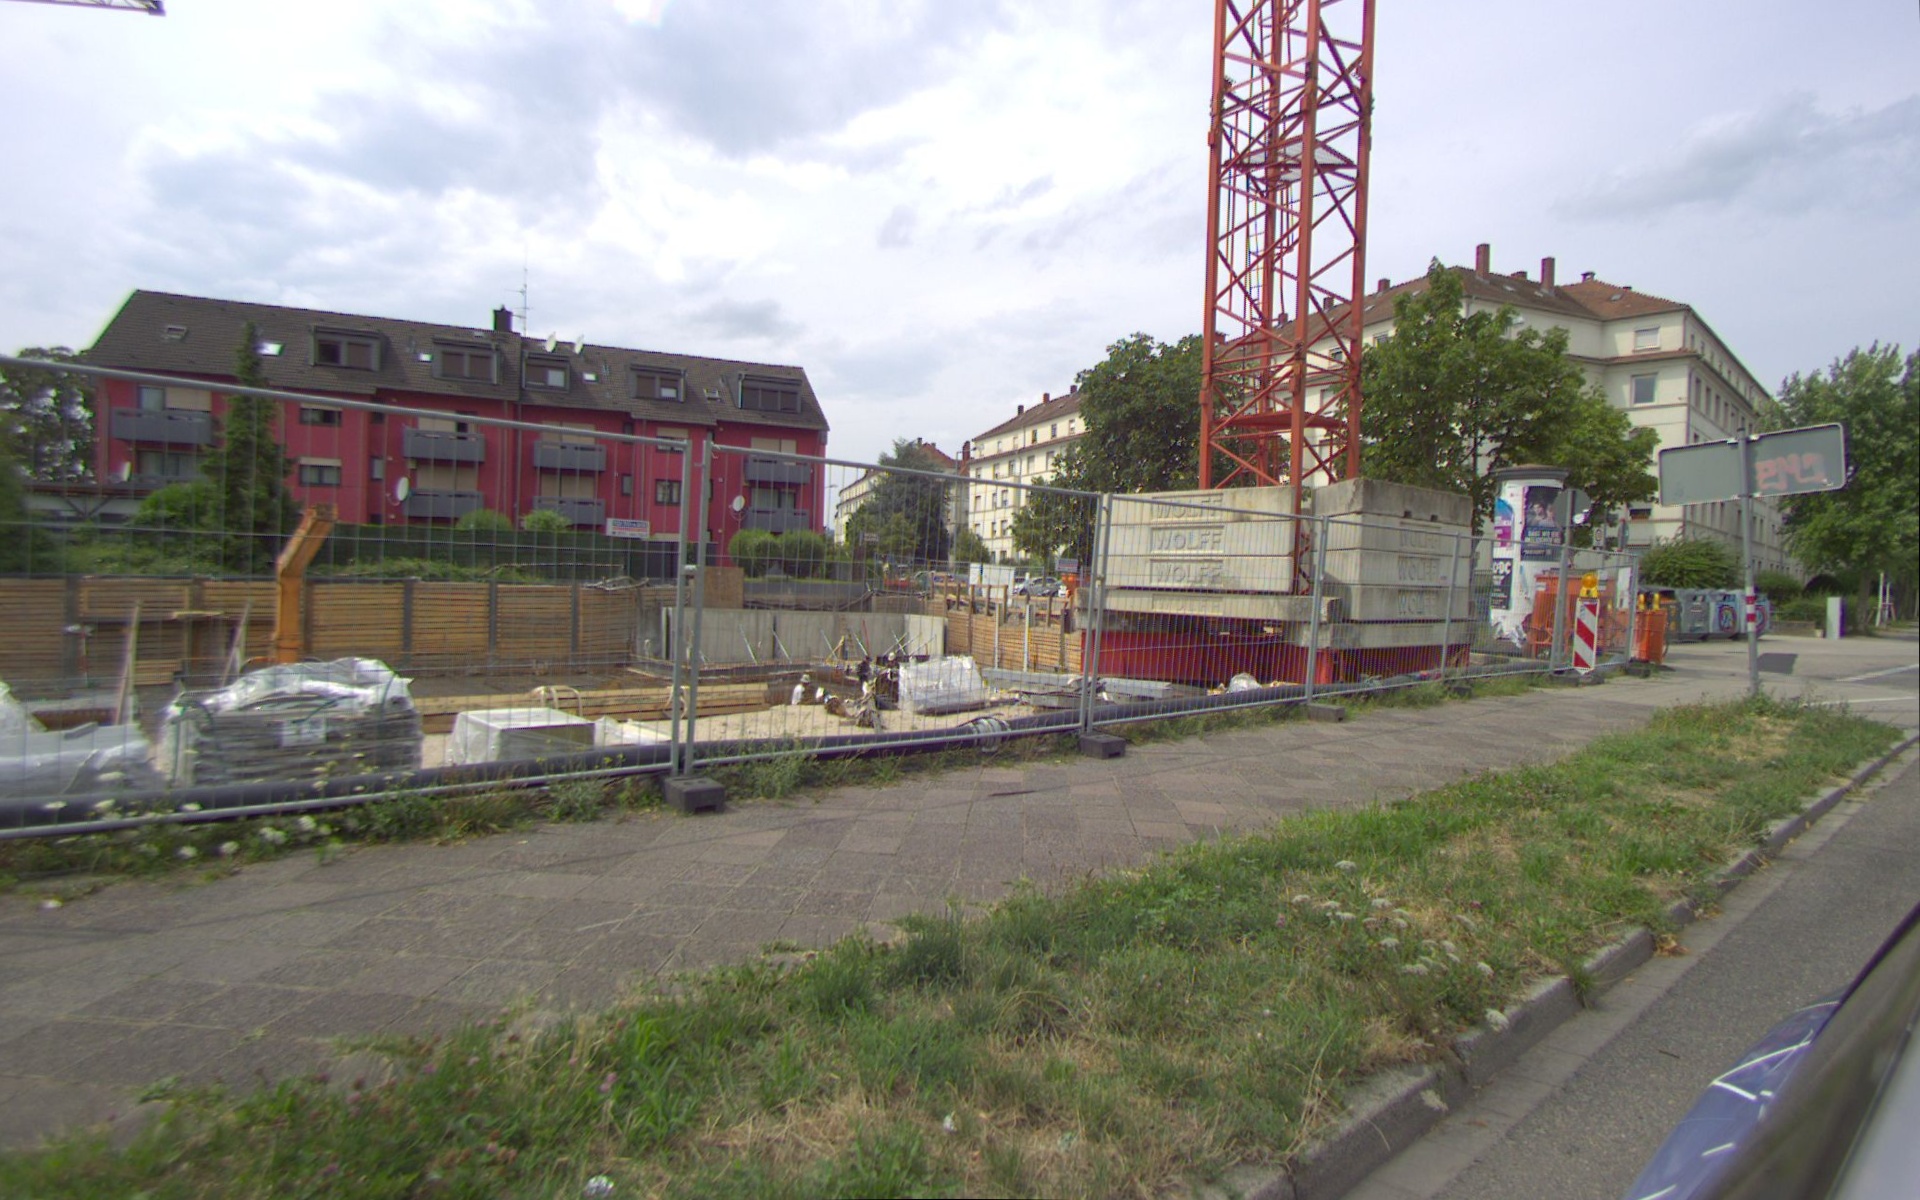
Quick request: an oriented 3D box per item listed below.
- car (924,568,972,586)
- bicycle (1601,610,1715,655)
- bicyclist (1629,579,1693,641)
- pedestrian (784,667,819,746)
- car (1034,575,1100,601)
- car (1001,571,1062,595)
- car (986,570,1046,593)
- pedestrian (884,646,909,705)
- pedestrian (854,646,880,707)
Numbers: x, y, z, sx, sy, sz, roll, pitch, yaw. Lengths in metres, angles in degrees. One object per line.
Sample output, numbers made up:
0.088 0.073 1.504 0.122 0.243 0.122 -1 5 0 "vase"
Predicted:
-1.073 -2.048 89.903 3.836 1.609 1.804 -1 0 -20 "car"
16.636 0.741 24.215 0.700 0.945 2.483 2 0 -9 "bicycle"
16.678 0.245 24.102 0.700 1.431 1.082 2 -2 -9 "bicyclist"
-3.798 2.541 24.270 0.706 1.743 0.846 2 2 -4 "pedestrian"
6.962 -0.762 65.927 3.836 1.609 1.804 -1 0 -20 "car"
5.017 -1.170 70.645 3.836 1.609 1.804 -1 0 -20 "car"
4.027 -1.360 72.920 3.836 1.609 1.804 -1 0 -20 "car"
-2.006 2.354 31.752 0.706 1.743 0.846 2 2 -4 "pedestrian"
-2.864 2.348 31.208 0.706 1.743 0.846 2 2 -4 "pedestrian"
